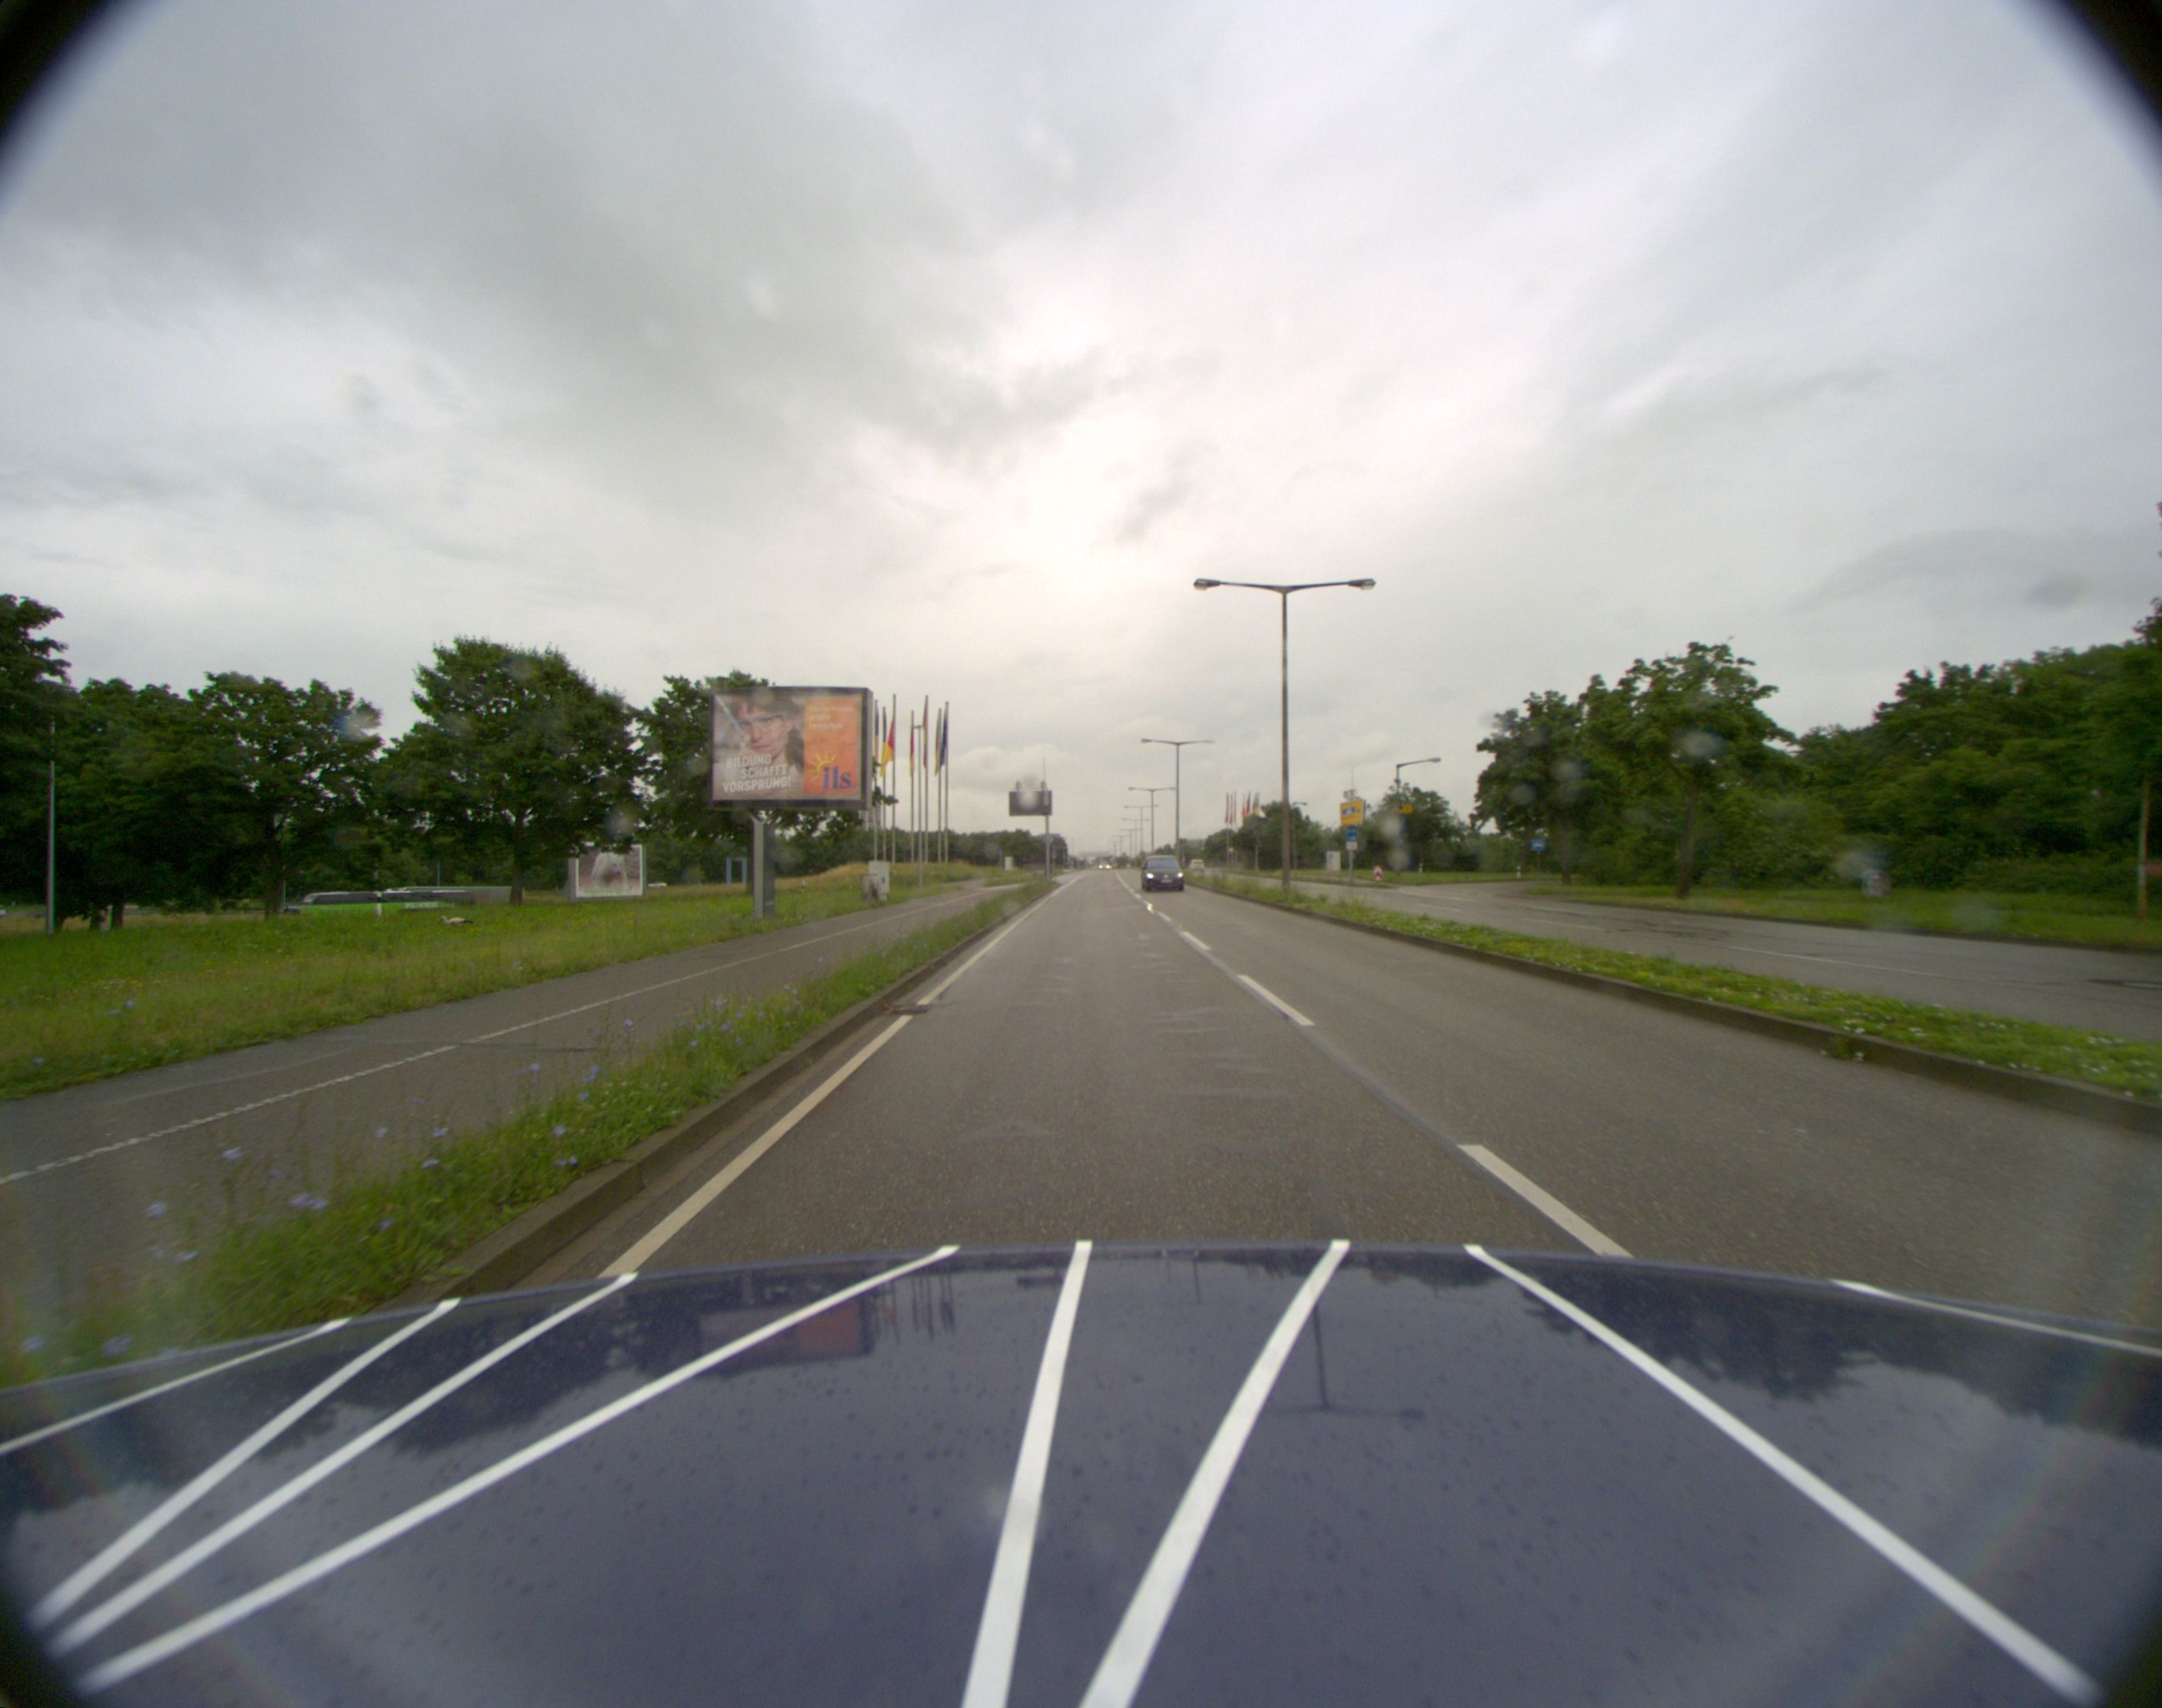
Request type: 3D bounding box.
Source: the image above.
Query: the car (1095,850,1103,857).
[{"bbox_3d":[4.663,-0.108,199.233,1.998,1.703,4.000,-1,-1,1],"label":"car"}]

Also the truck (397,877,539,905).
[{"bbox_3d":[-89.487,5.331,111.354,16.276,3.370,2.745,-2,0,-17],"label":"truck"}]

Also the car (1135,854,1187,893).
[{"bbox_3d":[3.880,0.896,37.517,1.850,1.740,4.816,-2,0,-2],"label":"car"}]

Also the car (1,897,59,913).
[{"bbox_3d":[-134.645,6.505,97.389,4.003,1.820,1.838,-2,0,-20],"label":"car"}]

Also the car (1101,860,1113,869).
[{"bbox_3d":[4.902,1.932,142.338,1.998,1.700,4.000,-1,0,0],"label":"car"}]

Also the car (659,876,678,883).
[{"bbox_3d":[-108.000,6.711,198.965,4.007,1.622,1.995,-2,0,-35],"label":"car"}]

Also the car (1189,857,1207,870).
[{"bbox_3d":[15.641,1.268,101.833,1.711,1.620,4.492,1,0,1],"label":"car"}]

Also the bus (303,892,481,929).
[{"bbox_3d":[-74.249,5.976,82.724,2.757,2.664,14.609,-1,1,20],"label":"bus"}]
